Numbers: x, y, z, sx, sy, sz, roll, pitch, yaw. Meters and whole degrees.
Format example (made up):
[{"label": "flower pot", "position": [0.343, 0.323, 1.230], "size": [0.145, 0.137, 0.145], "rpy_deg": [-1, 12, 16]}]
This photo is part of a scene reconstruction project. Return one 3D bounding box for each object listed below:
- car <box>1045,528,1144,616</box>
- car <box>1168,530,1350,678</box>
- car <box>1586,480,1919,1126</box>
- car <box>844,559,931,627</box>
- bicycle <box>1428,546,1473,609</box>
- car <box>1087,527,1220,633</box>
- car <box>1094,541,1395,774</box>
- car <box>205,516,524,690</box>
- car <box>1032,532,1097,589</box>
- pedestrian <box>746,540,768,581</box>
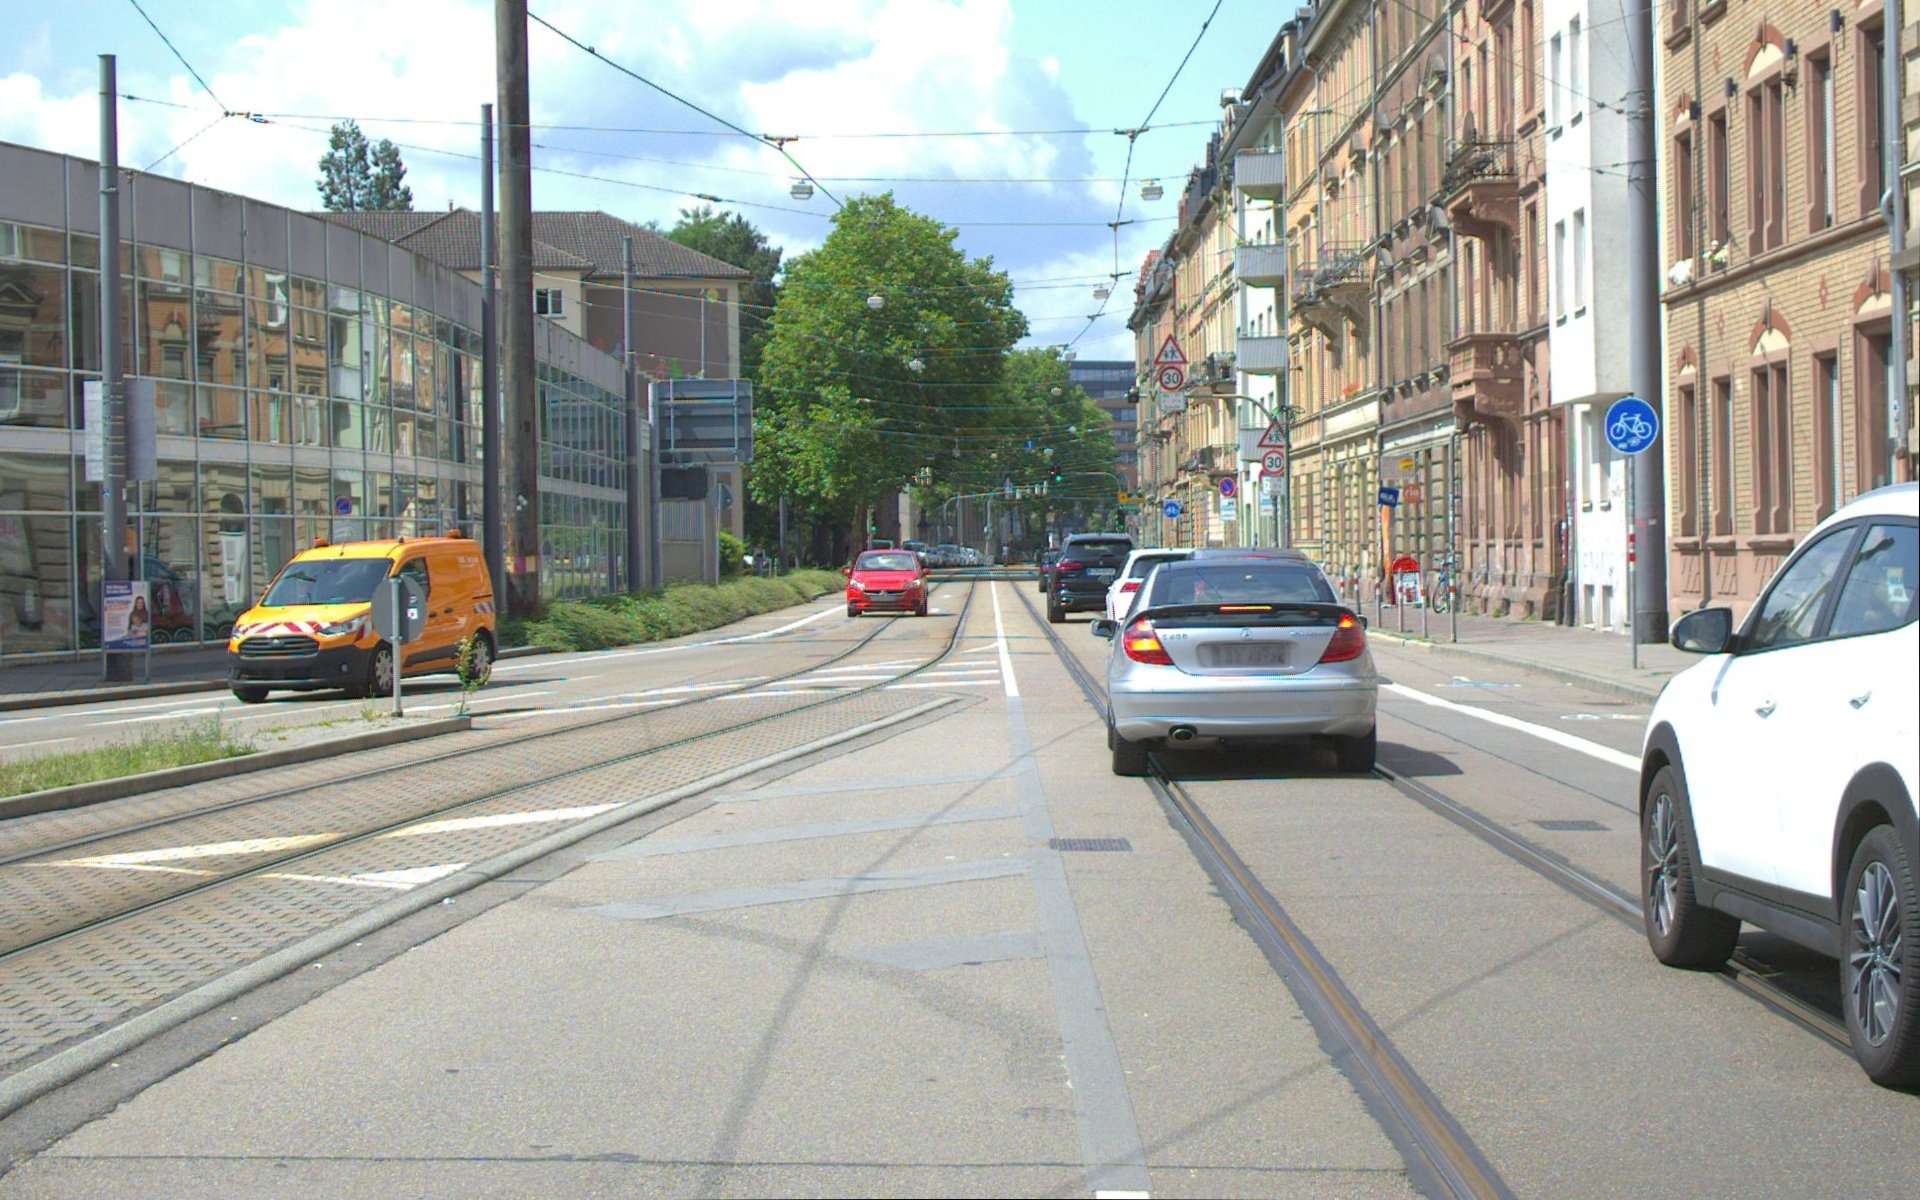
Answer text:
[{"label": "car", "position": [2.643, -0.555, 68.507], "size": [1.814, 1.656, 4.085], "rpy_deg": [-1, 0, 1]}, {"label": "car", "position": [3.251, 0.001, 38.023], "size": [1.814, 1.519, 4.085], "rpy_deg": [-1, 1, 3]}, {"label": "car", "position": [3.276, 0.464, 10.418], "size": [1.852, 1.628, 4.181], "rpy_deg": [-1, 1, -2]}, {"label": "car", "position": [-1.568, -0.164, 75.652], "size": [1.702, 1.423, 3.902], "rpy_deg": [-1, 0, 2]}, {"label": "bicycle", "position": [9.486, -0.441, 66.489], "size": [0.586, 1.174, 2.205], "rpy_deg": [-1, 1, 2]}, {"label": "car", "position": [2.908, -0.327, 52.308], "size": [1.814, 1.519, 3.956], "rpy_deg": [-1, 1, 1]}, {"label": "car", "position": [1.840, 0.338, 23.359], "size": [1.814, 1.415, 4.187], "rpy_deg": [-1, 0, 2]}, {"label": "car", "position": [-6.860, -0.006, 40.085], "size": [1.912, 1.859, 4.364], "rpy_deg": [-2, 1, 16]}, {"label": "car", "position": [3.496, -1.343, 115.845], "size": [1.993, 1.853, 4.000], "rpy_deg": [-1, 1, -1]}, {"label": "pedestrian", "position": [-9.338, -1.814, 158.416], "size": [0.880, 1.859, 1.081], "rpy_deg": [-2, 1, 1]}]
